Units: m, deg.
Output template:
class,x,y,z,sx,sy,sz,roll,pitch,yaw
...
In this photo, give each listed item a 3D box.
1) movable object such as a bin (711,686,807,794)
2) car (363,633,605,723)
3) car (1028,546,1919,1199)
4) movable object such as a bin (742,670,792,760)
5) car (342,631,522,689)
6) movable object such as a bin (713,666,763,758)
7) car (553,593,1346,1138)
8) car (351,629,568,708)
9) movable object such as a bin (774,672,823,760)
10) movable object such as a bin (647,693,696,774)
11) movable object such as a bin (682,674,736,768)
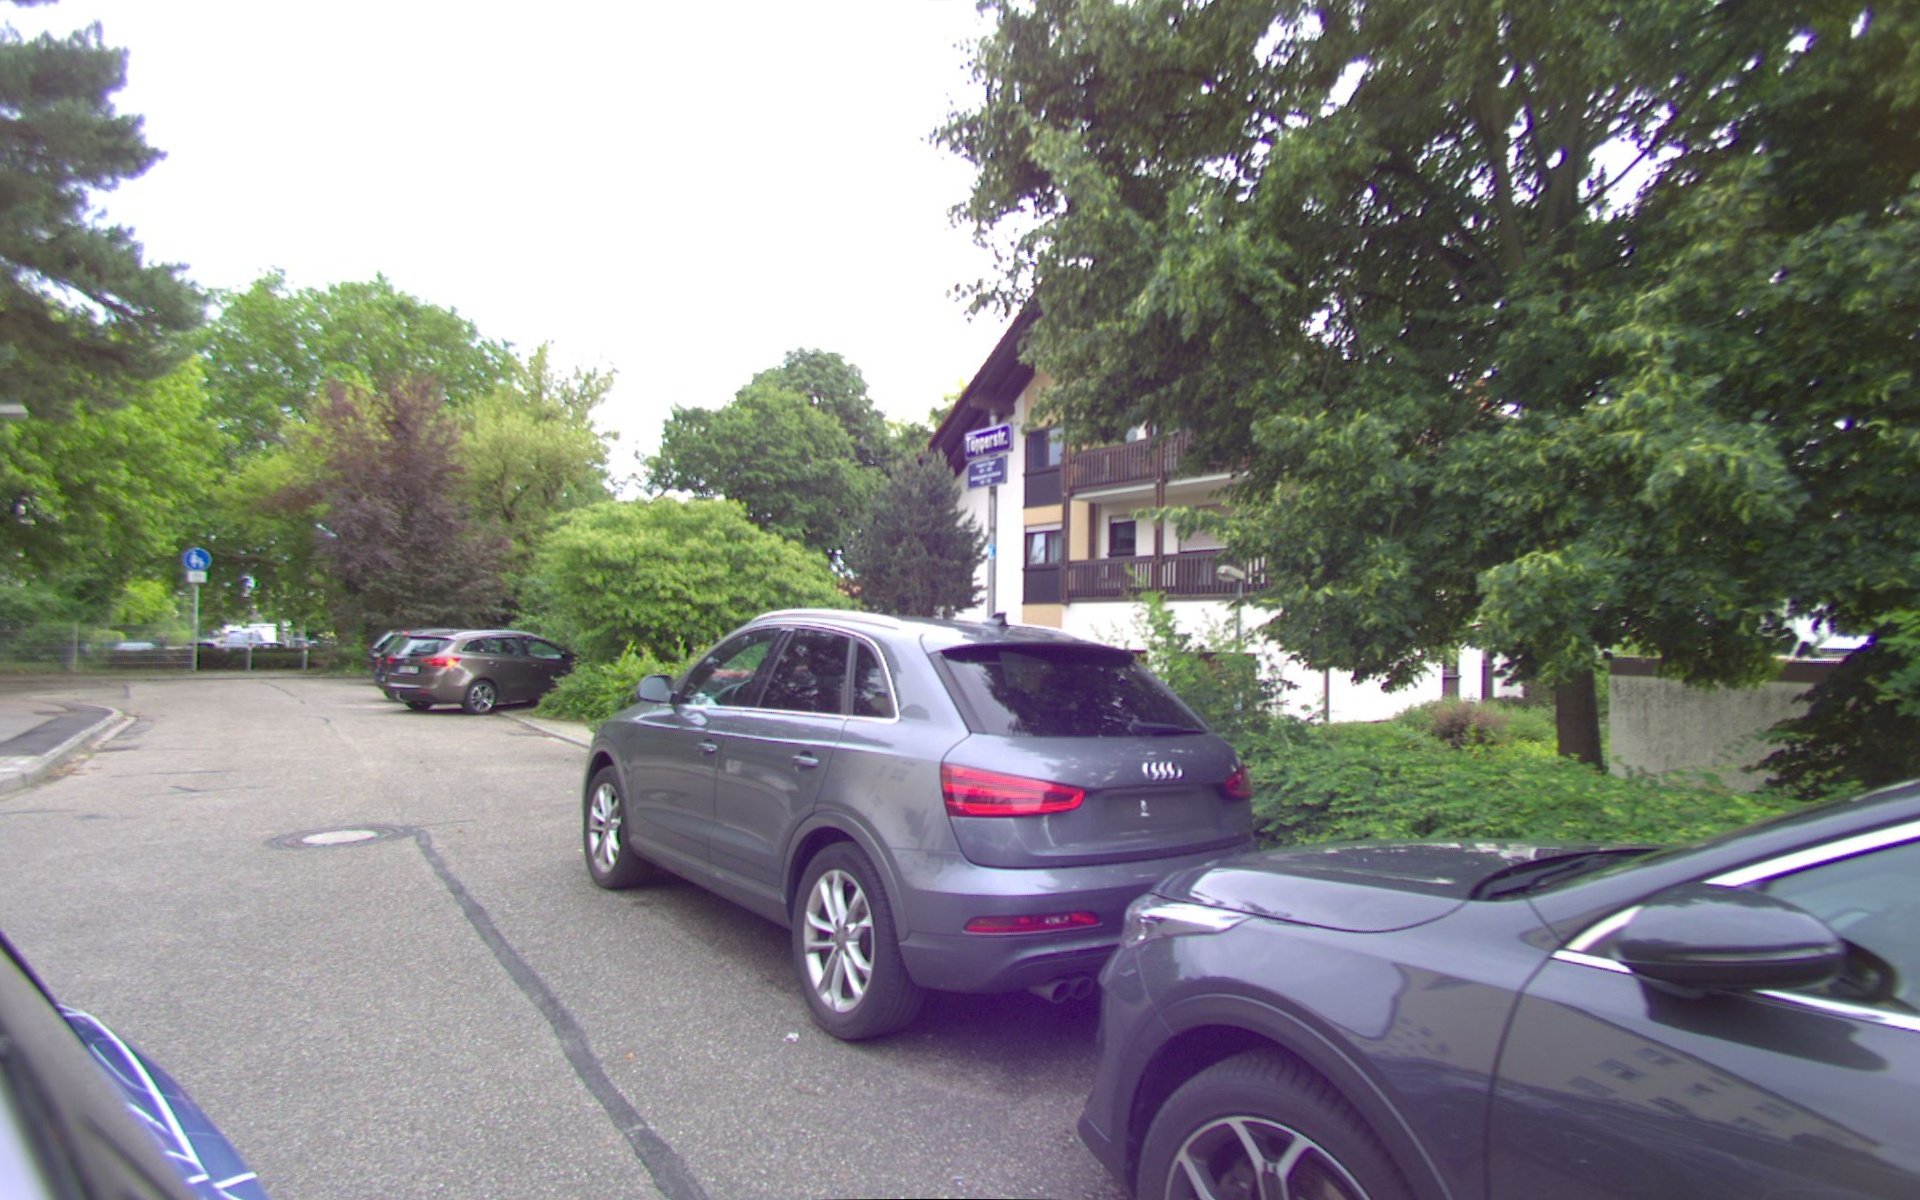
class,x,y,z,sx,sy,sz,roll,pitch,yaw
movable object such as a bin,-2.003,1.369,10.080,0.711,0.960,0.641,2,-2,-39
car,-8.866,1.403,19.215,1.692,1.502,3.964,0,-2,26
car,2.056,0.748,1.166,1.718,1.543,4.206,4,-4,-33
movable object such as a bin,-2.282,1.346,11.953,0.332,1.001,0.540,2,-2,-40
car,-13.853,1.560,26.797,1.692,1.385,3.964,0,-2,26
movable object such as a bin,-2.575,1.283,11.747,0.332,1.001,0.540,2,-2,-40
car,-0.479,0.848,5.110,1.719,1.543,4.259,5,-4,-38
car,-10.607,1.422,21.770,1.692,1.502,3.964,0,-2,26
movable object such as a bin,-1.953,1.389,12.216,0.332,1.001,0.540,2,-2,-40
movable object such as a bin,-3.208,1.472,11.249,0.373,0.843,0.388,2,-2,-41
movable object such as a bin,-2.856,1.365,11.510,0.373,1.001,0.540,2,-2,-40
